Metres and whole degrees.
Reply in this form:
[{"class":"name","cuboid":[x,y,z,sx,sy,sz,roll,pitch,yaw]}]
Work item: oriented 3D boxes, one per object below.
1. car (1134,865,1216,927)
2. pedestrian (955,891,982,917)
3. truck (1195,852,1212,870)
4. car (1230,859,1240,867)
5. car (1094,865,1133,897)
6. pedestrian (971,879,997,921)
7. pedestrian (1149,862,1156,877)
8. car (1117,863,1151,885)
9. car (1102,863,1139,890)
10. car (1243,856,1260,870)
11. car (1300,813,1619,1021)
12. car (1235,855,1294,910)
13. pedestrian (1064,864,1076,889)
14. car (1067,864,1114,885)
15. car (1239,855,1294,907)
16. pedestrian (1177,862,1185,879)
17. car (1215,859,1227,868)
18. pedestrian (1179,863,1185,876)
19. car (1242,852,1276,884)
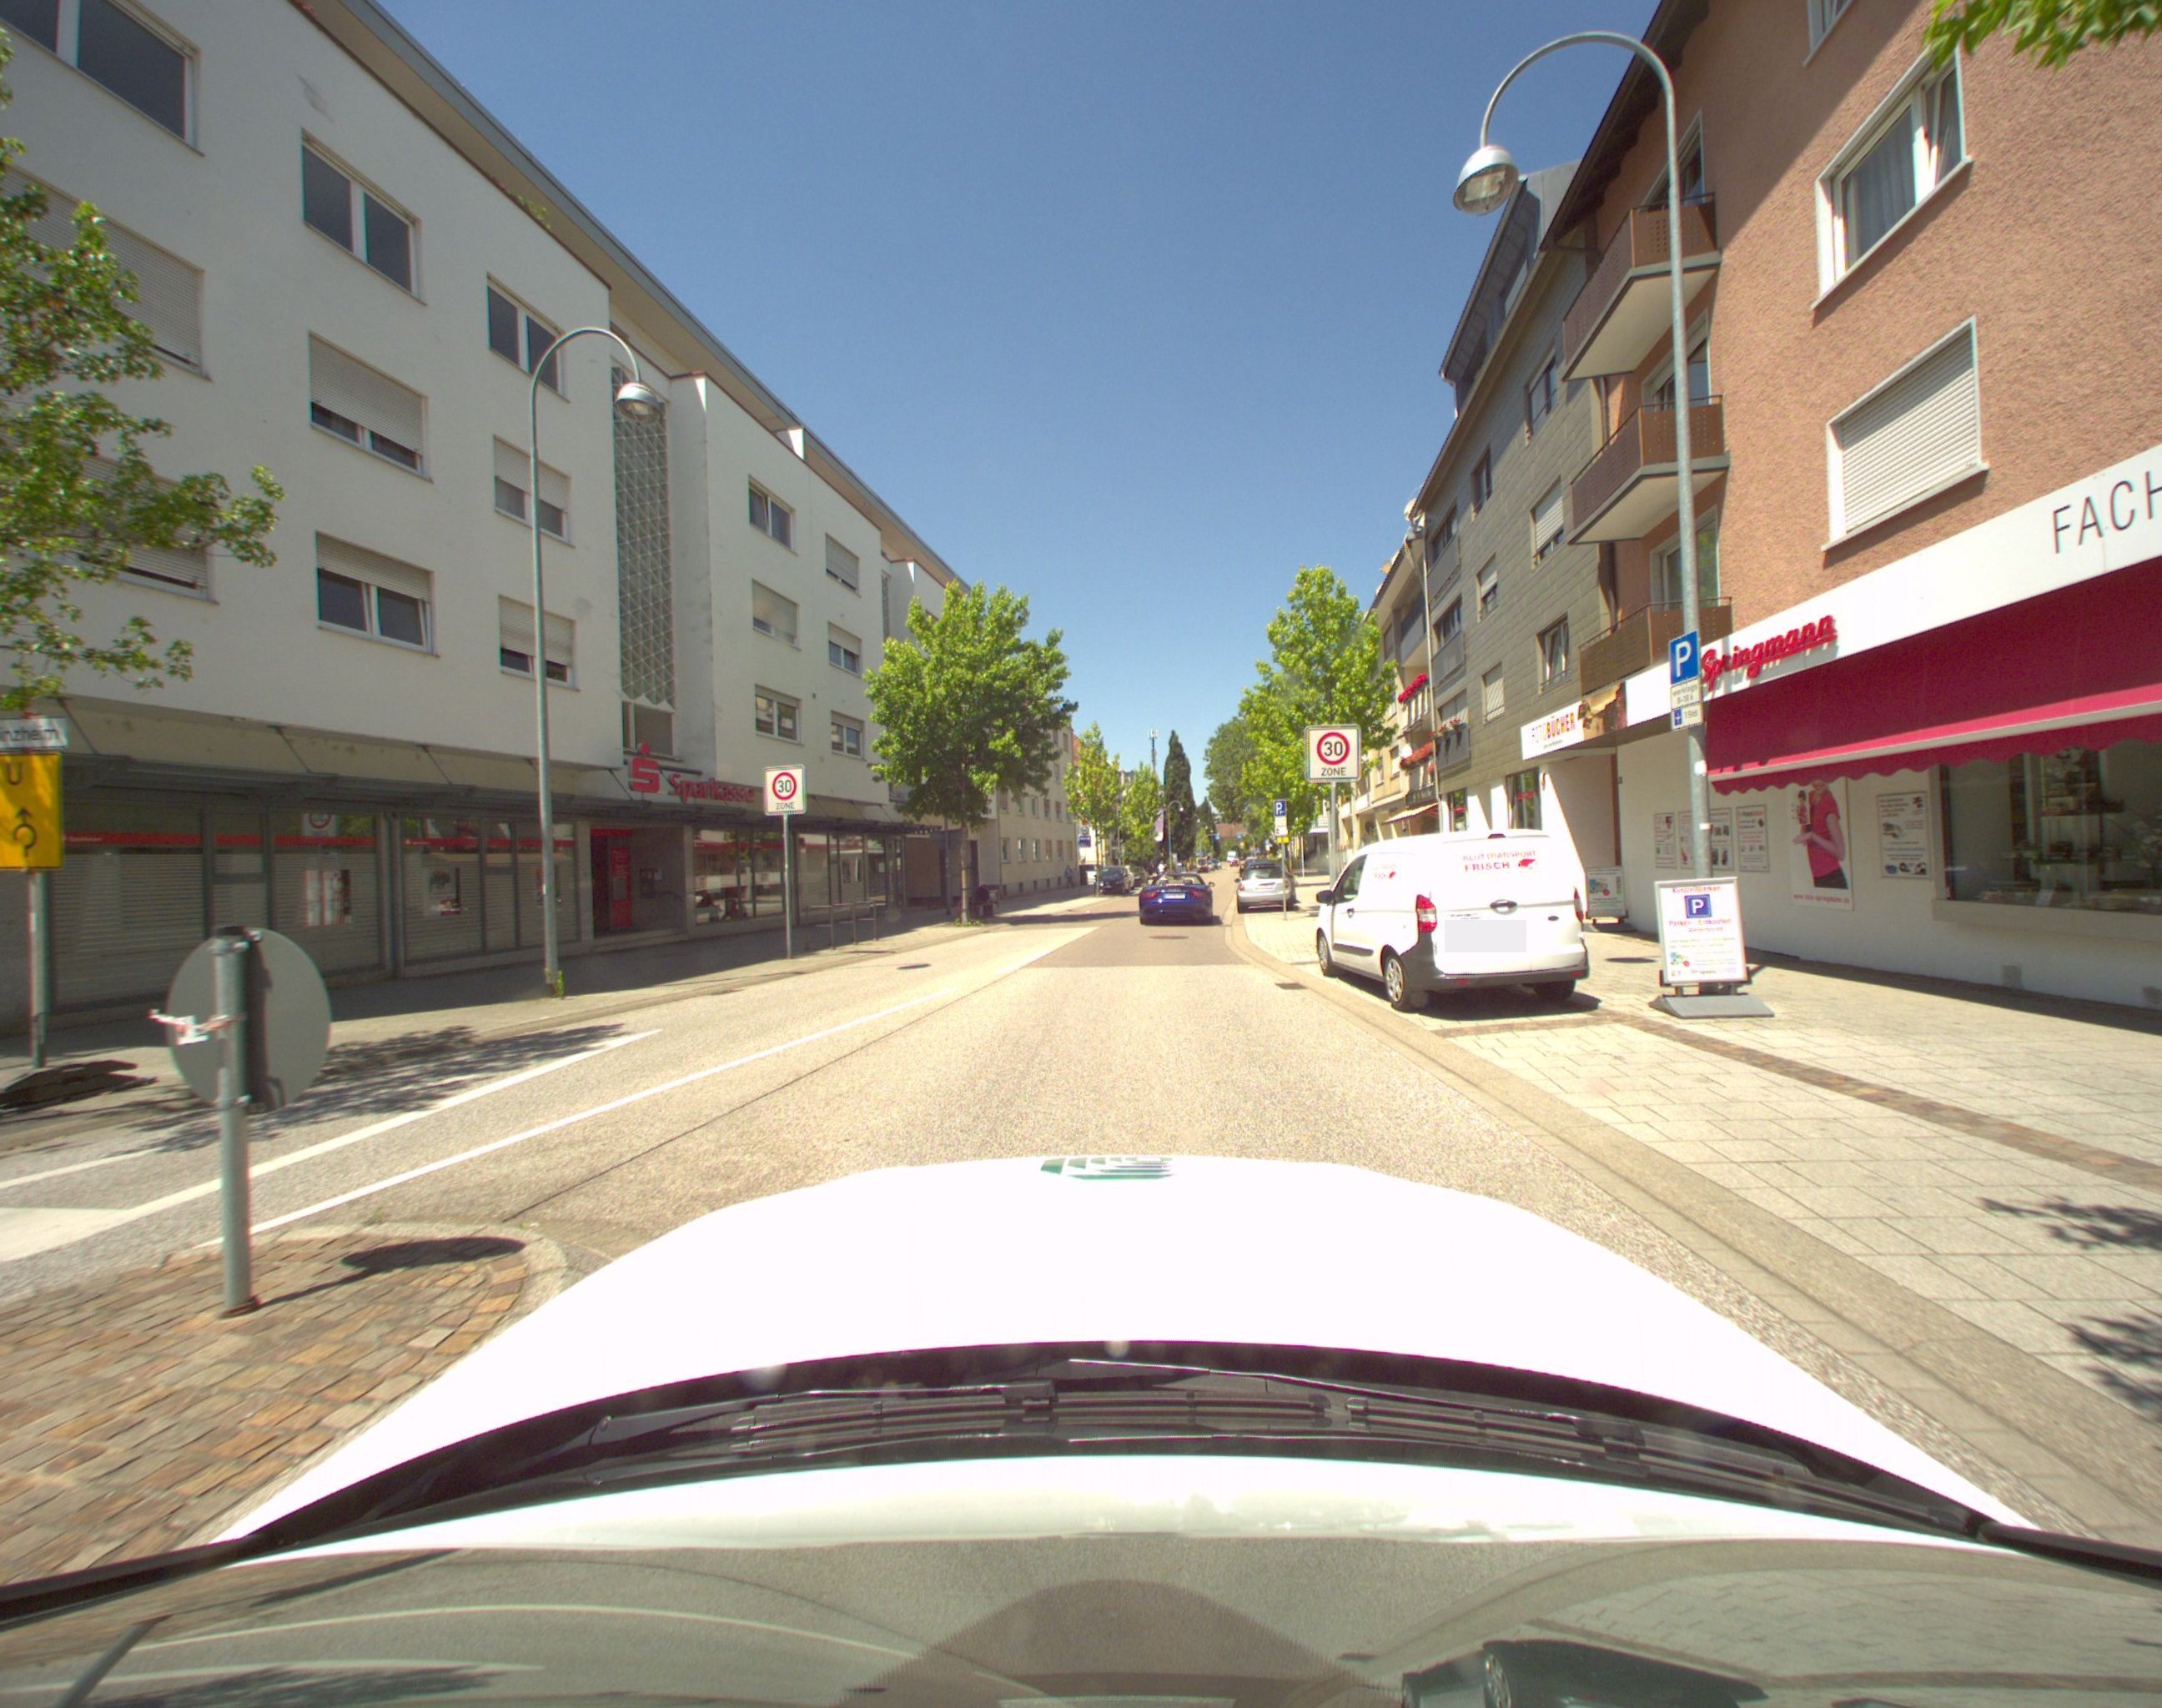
[{"class":"car","cuboid":[2.558,1.067,22.378,1.966,1.398,4.635,-2,0,6]},{"class":"pedestrian","cuboid":[-3.930,1.748,28.513,0.659,0.858,0.736,-4,-5,20]},{"class":"truck","cuboid":[16.002,0.879,106.630,1.793,2.117,4.730,-4,0,12]},{"class":"car","cuboid":[29.906,1.704,158.079,1.758,1.476,4.150,-2,-1,11]},{"class":"car","cuboid":[1.972,1.549,48.471,1.718,1.740,4.405,0,0,10]},{"class":"pedestrian","cuboid":[-3.265,1.542,27.438,0.562,1.372,0.670,-4,-2,20]},{"class":"pedestrian","cuboid":[6.921,1.481,79.017,0.575,1.474,0.566,-3,-1,9]},{"class":"car","cuboid":[3.963,1.437,60.201,1.742,1.474,4.337,-1,0,14]},{"class":"car","cuboid":[2.666,1.449,54.113,1.813,1.619,4.405,-1,0,10]},{"class":"car","cuboid":[20.885,1.100,99.777,1.963,1.450,4.363,-4,0,12]},{"class":"car","cuboid":[3.879,0.583,9.181,1.741,1.724,3.911,-4,-1,1]},{"class":"car","cuboid":[5.791,0.858,25.922,1.612,1.559,3.852,-3,-1,11]},{"class":"pedestrian","cuboid":[-0.804,1.568,57.404,0.655,1.680,0.630,-4,1,-6]},{"class":"car","cuboid":[0.886,1.855,73.853,4.035,1.823,1.765,-1,0,9]},{"class":"car","cuboid":[6.948,0.966,30.709,1.752,1.706,4.721,-4,-1,12]},{"class":"pedestrian","cuboid":[12.060,2.021,97.982,0.844,1.915,0.763,-4,1,10]},{"class":"car","cuboid":[24.931,1.649,144.898,1.758,1.476,4.150,-4,-1,11]},{"class":"pedestrian","cuboid":[12.138,1.868,97.907,0.583,1.574,0.783,-3,-1,10]},{"class":"car","cuboid":[11.920,0.901,54.381,1.979,1.798,4.586,-4,1,13]}]
